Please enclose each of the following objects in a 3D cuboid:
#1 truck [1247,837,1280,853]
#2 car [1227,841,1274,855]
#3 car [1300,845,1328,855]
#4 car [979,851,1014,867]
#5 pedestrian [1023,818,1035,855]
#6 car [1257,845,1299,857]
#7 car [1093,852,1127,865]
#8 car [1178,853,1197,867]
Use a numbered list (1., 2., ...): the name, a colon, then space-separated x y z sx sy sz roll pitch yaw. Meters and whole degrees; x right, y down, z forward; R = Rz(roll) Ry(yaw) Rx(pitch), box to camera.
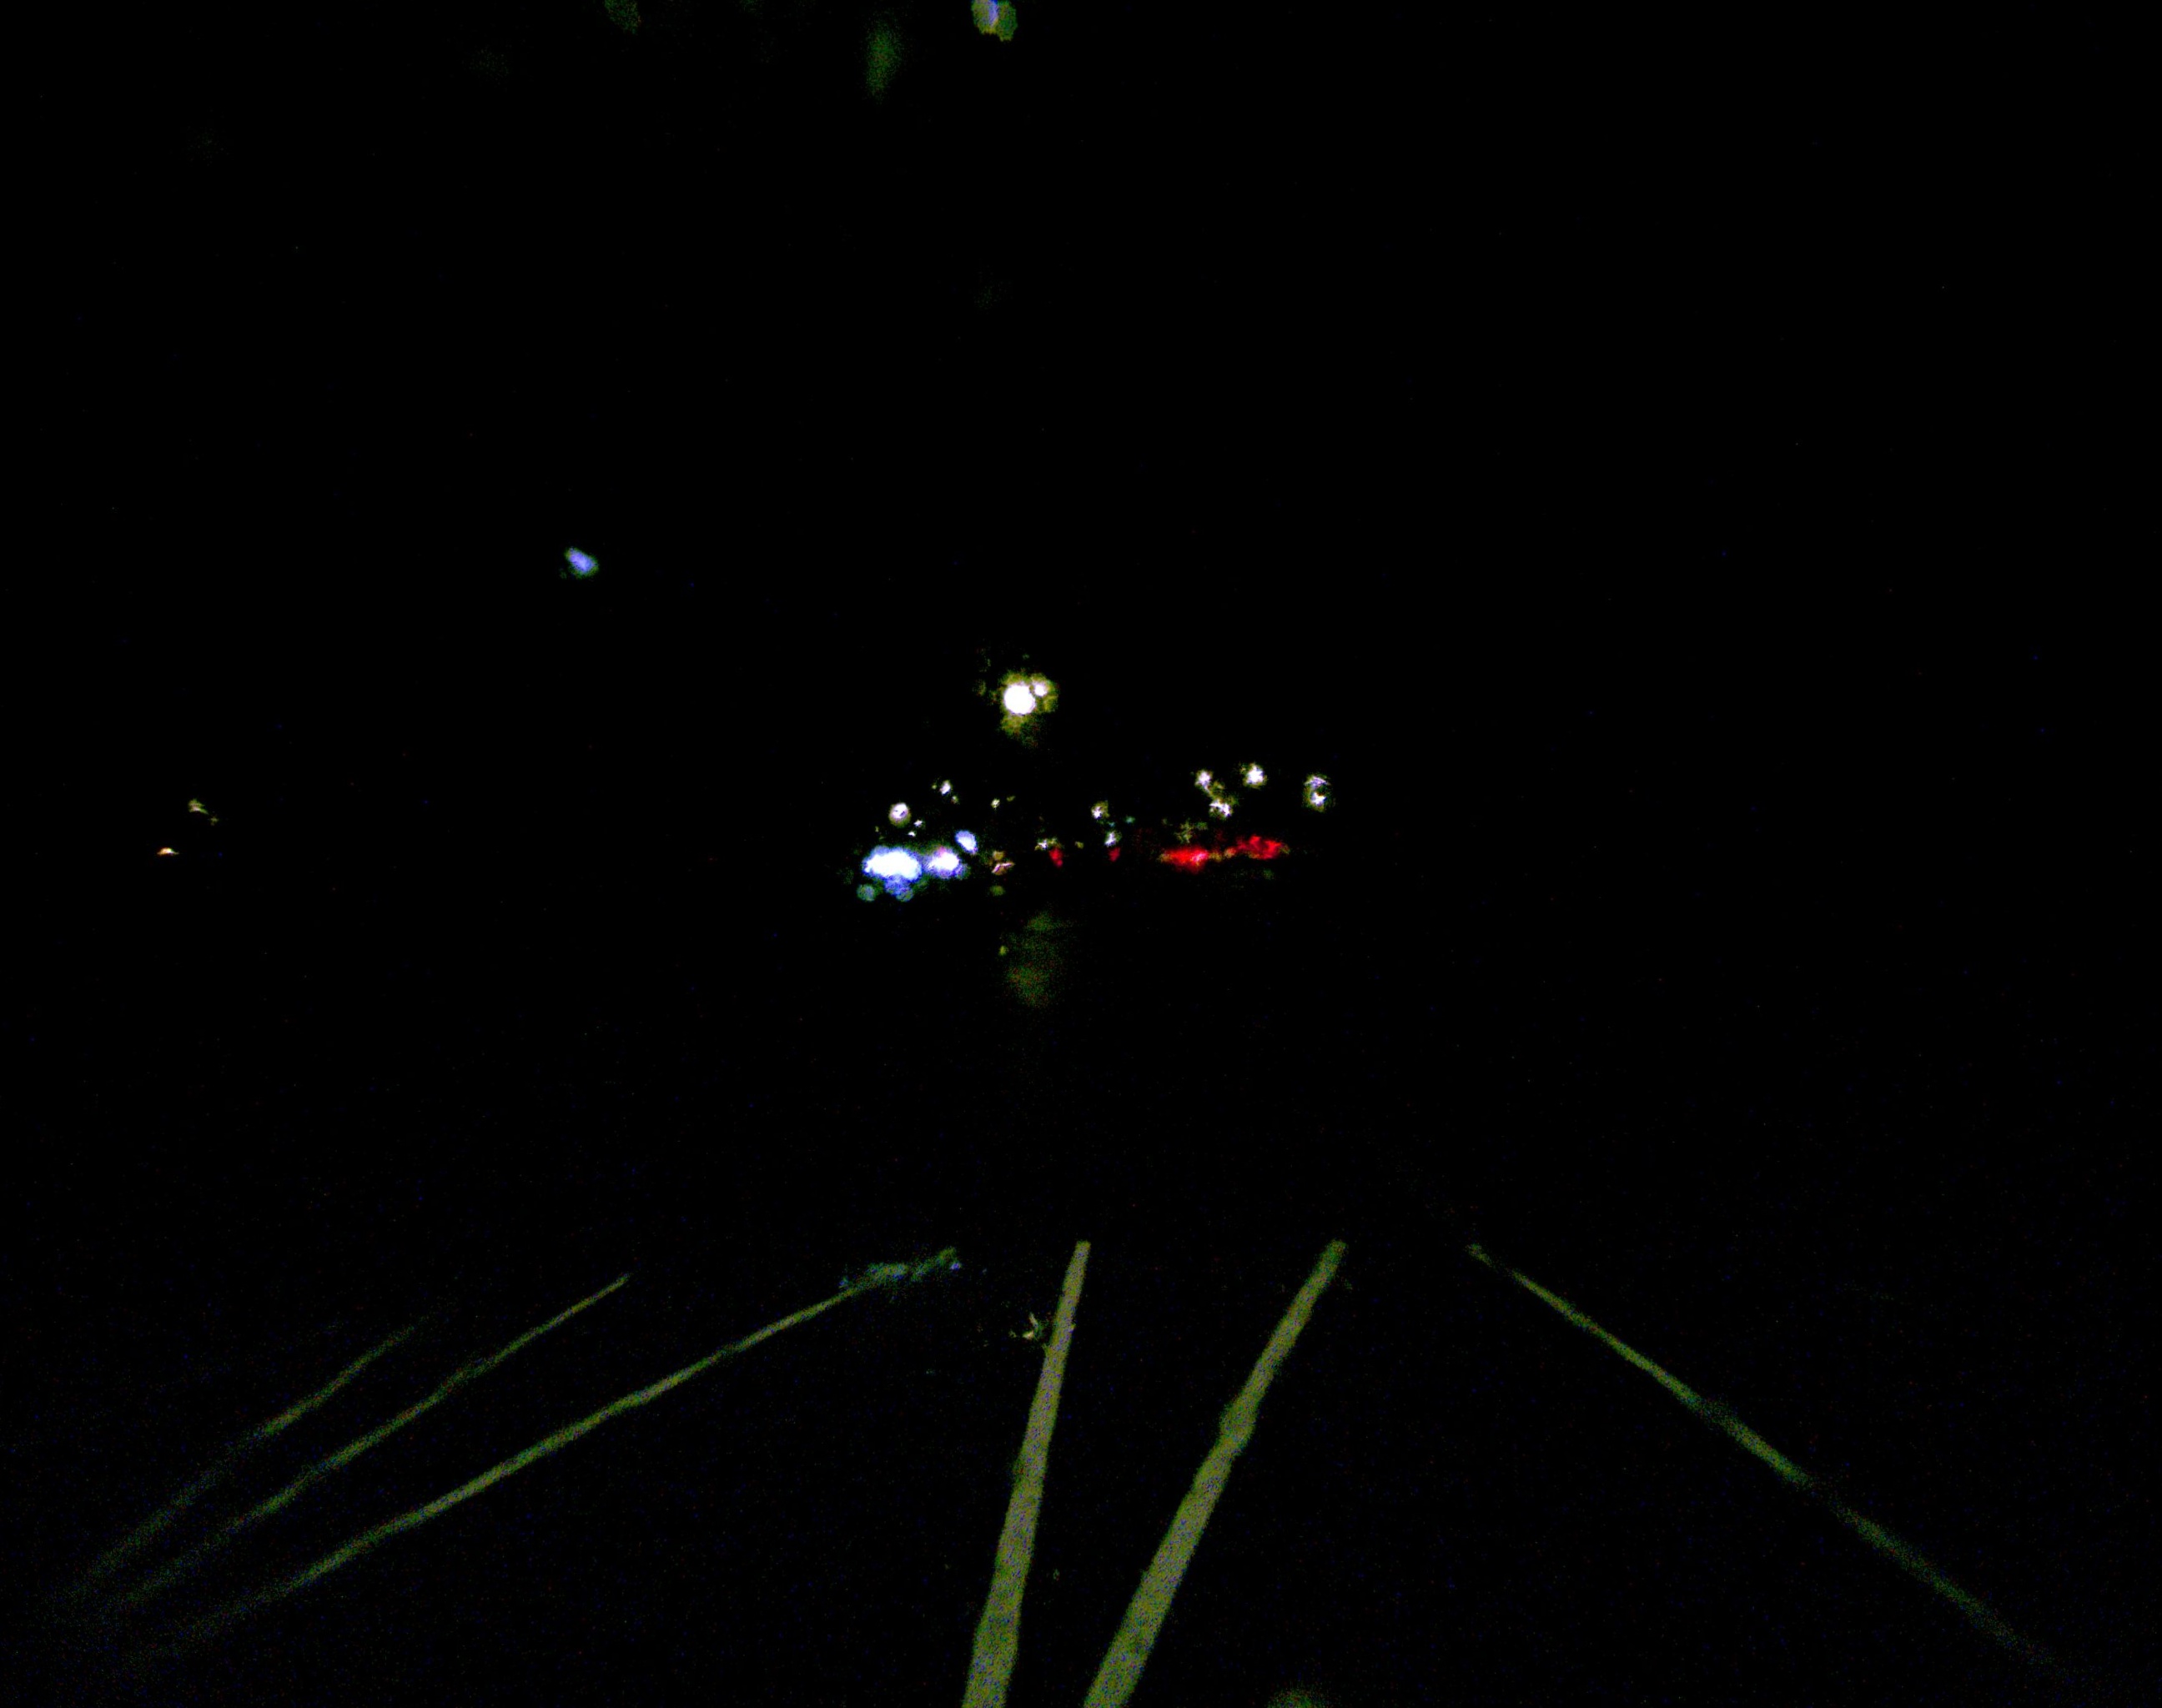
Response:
1. truck: 27.985 -1.376 116.201 2.316 2.383 7.827 0 1 35
2. car: 24.275 -0.899 108.794 6.446 1.805 1.997 -1 1 -15
3. car: 40.661 -0.745 132.564 4.421 1.612 2.003 -1 0 25
4. car: -10.305 0.602 92.705 3.988 1.775 2.004 0 1 39
5. pedestrian: -2.868 -0.956 41.568 0.550 2.002 0.742 -1 1 1
6. car: 26.298 -0.381 101.584 5.098 1.457 1.998 -2 1 -7
7. car: 3.945 0.548 103.489 4.430 1.612 1.999 -1 1 -4
8. car: 11.962 0.630 84.933 1.997 1.447 4.305 2 1 8
